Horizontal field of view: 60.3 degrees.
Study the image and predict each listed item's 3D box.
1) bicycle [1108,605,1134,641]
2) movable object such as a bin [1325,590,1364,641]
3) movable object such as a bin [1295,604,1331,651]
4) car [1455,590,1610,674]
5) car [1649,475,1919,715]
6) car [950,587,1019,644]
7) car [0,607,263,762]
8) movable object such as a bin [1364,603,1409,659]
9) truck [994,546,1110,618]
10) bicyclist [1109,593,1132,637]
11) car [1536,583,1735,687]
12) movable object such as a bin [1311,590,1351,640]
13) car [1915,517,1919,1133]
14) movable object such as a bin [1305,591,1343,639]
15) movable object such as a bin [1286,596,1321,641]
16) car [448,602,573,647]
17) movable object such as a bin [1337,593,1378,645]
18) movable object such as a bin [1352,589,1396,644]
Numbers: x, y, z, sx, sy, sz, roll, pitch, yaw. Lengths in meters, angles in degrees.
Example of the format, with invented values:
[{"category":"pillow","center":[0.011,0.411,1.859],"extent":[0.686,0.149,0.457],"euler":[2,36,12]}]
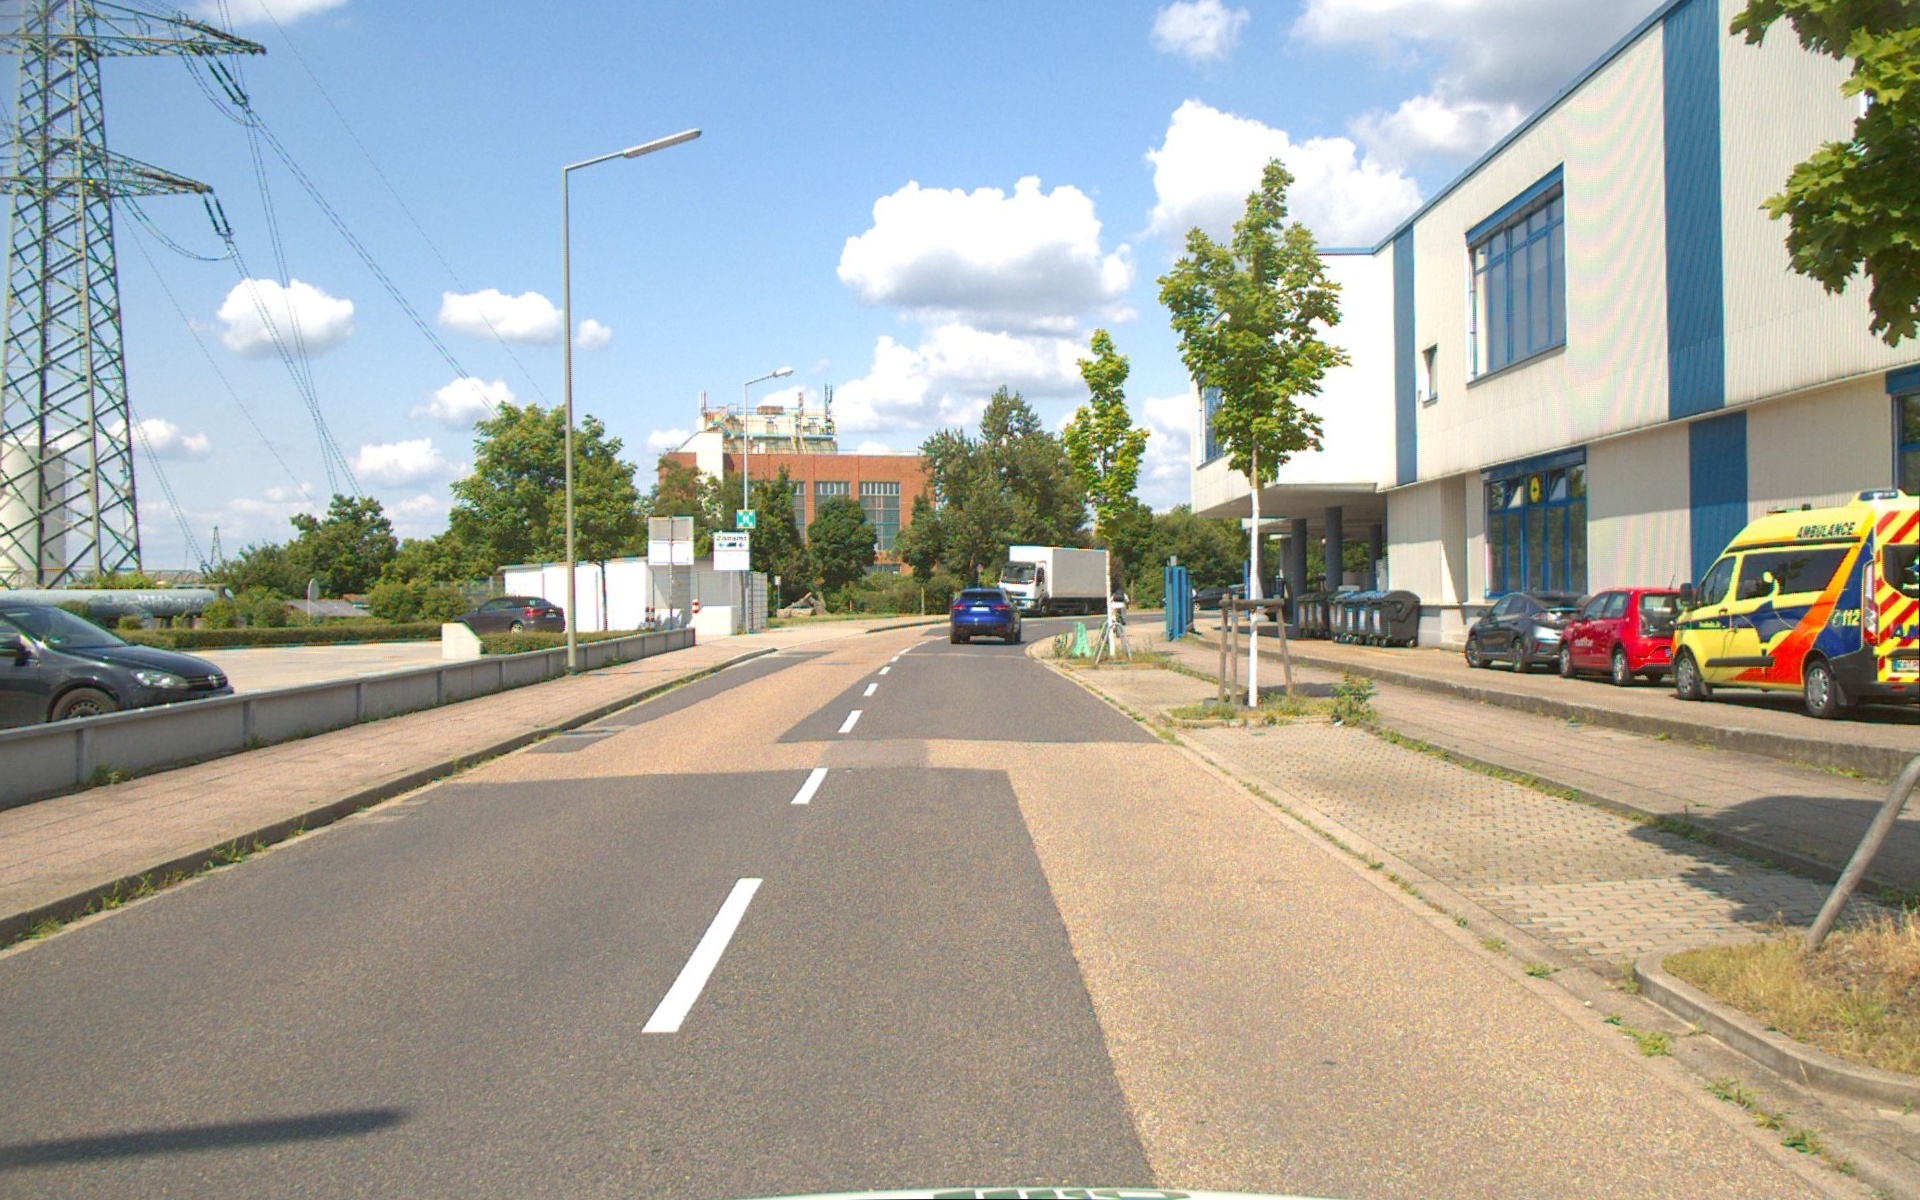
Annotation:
[{"category":"bicycle","center":[5.200,0.722,53.419],"extent":[0.652,1.128,2.169],"euler":[-1,0,10]},{"category":"movable object such as a bin","center":[11.031,0.458,47.493],"extent":[0.788,1.438,1.174],"euler":[1,-1,-3]},{"category":"movable object such as a bin","center":[11.084,0.861,51.923],"extent":[0.788,1.438,1.357],"euler":[1,-1,-3]},{"category":"car","center":[10.448,0.571,30.437],"extent":[1.465,1.428,3.853],"euler":[0,-1,-1]},{"category":"car","center":[10.378,-0.018,19.945],"extent":[1.885,2.507,5.258],"euler":[0,-1,-1]},{"category":"car","center":[0.798,0.476,50.418],"extent":[1.869,1.621,4.703],"euler":[0,-1,3]},{"category":"car","center":[-9.055,0.781,15.937],"extent":[3.906,1.400,1.803],"euler":[0,0,-1]},{"category":"movable object such as a bin","center":[11.130,0.802,43.202],"extent":[0.788,1.438,1.357],"euler":[1,-1,-2]},{"category":"truck","center":[5.047,-0.977,88.256],"extent":[2.277,3.630,9.351],"euler":[1,1,29]},{"category":"bicyclist","center":[5.187,0.486,53.497],"extent":[0.649,1.422,0.859],"euler":[-1,-1,10]},{"category":"car","center":[10.545,0.530,26.101],"extent":[1.540,1.517,3.815],"euler":[0,-1,-1]},{"category":"movable object such as a bin","center":[10.961,0.453,48.943],"extent":[0.788,1.438,1.426],"euler":[1,-1,-3]},{"category":"car","center":[3.439,0.591,2.183],"extent":[1.719,1.679,4.677],"euler":[0,-1,1]},{"category":"movable object such as a bin","center":[11.111,0.449,50.518],"extent":[0.788,1.438,1.404],"euler":[1,-1,-3]},{"category":"movable object such as a bin","center":[11.078,0.597,53.407],"extent":[0.788,1.438,1.357],"euler":[1,-1,-3]},{"category":"car","center":[-14.603,0.788,53.686],"extent":[3.916,1.402,1.798],"euler":[-1,0,34]},{"category":"movable object such as a bin","center":[11.084,0.529,46.173],"extent":[0.788,1.438,1.357],"euler":[1,-1,-2]},{"category":"movable object such as a bin","center":[11.176,0.442,44.677],"extent":[0.788,1.438,1.357],"euler":[1,-1,-2]}]
